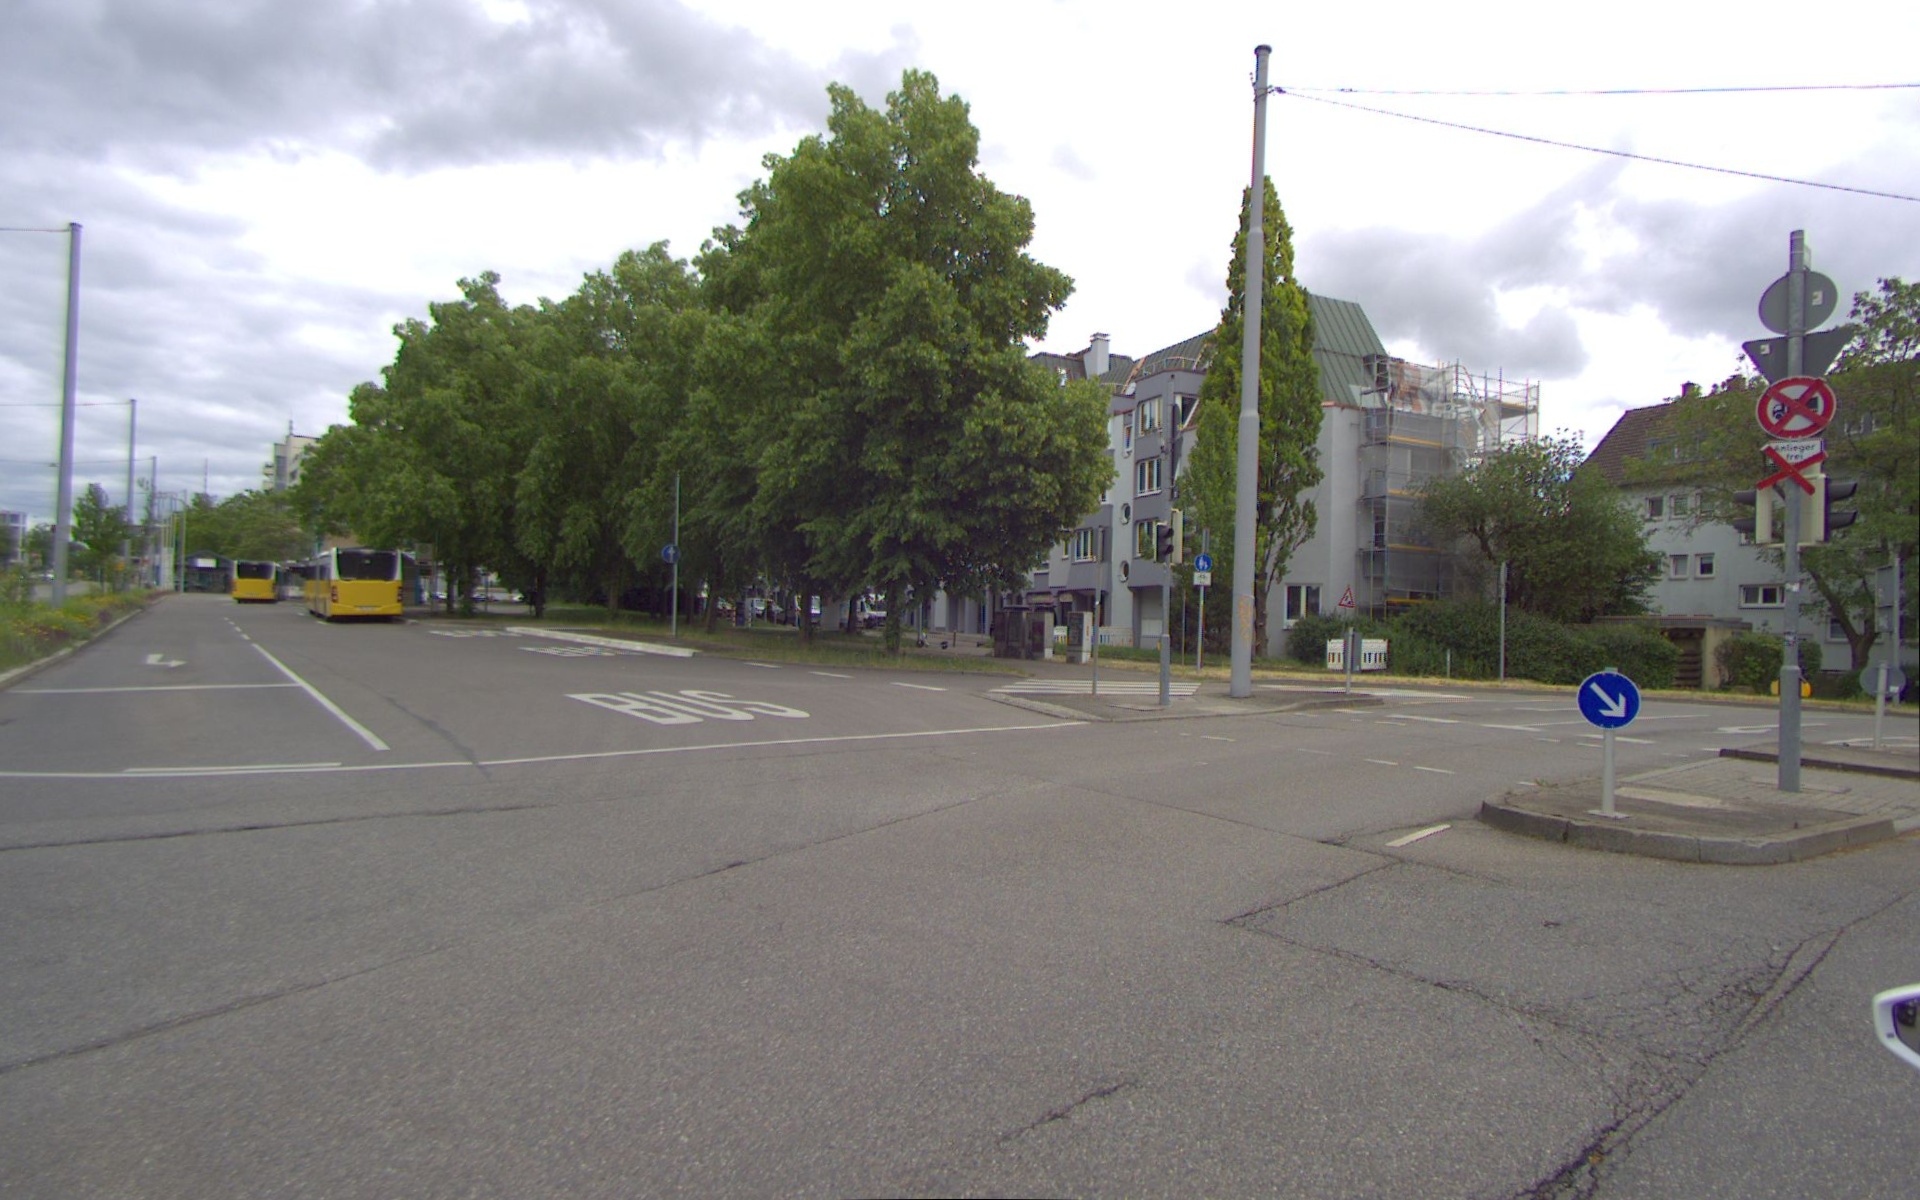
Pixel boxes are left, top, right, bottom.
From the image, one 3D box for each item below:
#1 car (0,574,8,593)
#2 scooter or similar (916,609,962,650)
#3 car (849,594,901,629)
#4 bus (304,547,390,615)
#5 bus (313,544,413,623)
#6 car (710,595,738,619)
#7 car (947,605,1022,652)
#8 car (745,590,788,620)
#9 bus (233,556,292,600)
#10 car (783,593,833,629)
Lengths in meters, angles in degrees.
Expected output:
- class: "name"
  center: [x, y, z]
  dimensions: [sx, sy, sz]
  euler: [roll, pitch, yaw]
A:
- class: "car"
  center: [-85.716, -1.496, 88.740]
  dimensions: [1.732, 1.549, 3.713]
  euler: [2, 1, -35]
- class: "scooter or similar"
  center: [-0.795, 1.099, 37.682]
  dimensions: [1.561, 1.465, 0.556]
  euler: [3, 1, 20]
- class: "car"
  center: [-6.187, 0.795, 72.724]
  dimensions: [2.284, 2.284, 5.465]
  euler: [2, 1, -21]
- class: "bus"
  center: [-31.166, -0.988, 50.840]
  dimensions: [3.024, 3.049, 9.598]
  euler: [2, 0, -35]
- class: "bus"
  center: [-25.950, -0.744, 43.436]
  dimensions: [3.024, 3.049, 8.345]
  euler: [2, 0, -35]
- class: "car"
  center: [-20.820, 0.602, 88.568]
  dimensions: [1.968, 1.965, 4.573]
  euler: [2, 1, -18]
- class: "car"
  center: [0.930, 1.109, 40.070]
  dimensions: [1.623, 1.691, 3.932]
  euler: [4, -2, -20]
- class: "car"
  center: [-15.101, 0.372, 78.179]
  dimensions: [2.284, 2.120, 5.465]
  euler: [2, 1, -21]
- class: "bus"
  center: [-53.105, -1.684, 76.703]
  dimensions: [3.261, 3.049, 10.136]
  euler: [2, 0, -33]
- class: "car"
  center: [-10.110, 0.699, 66.548]
  dimensions: [2.188, 2.145, 5.280]
  euler: [2, 1, -21]
